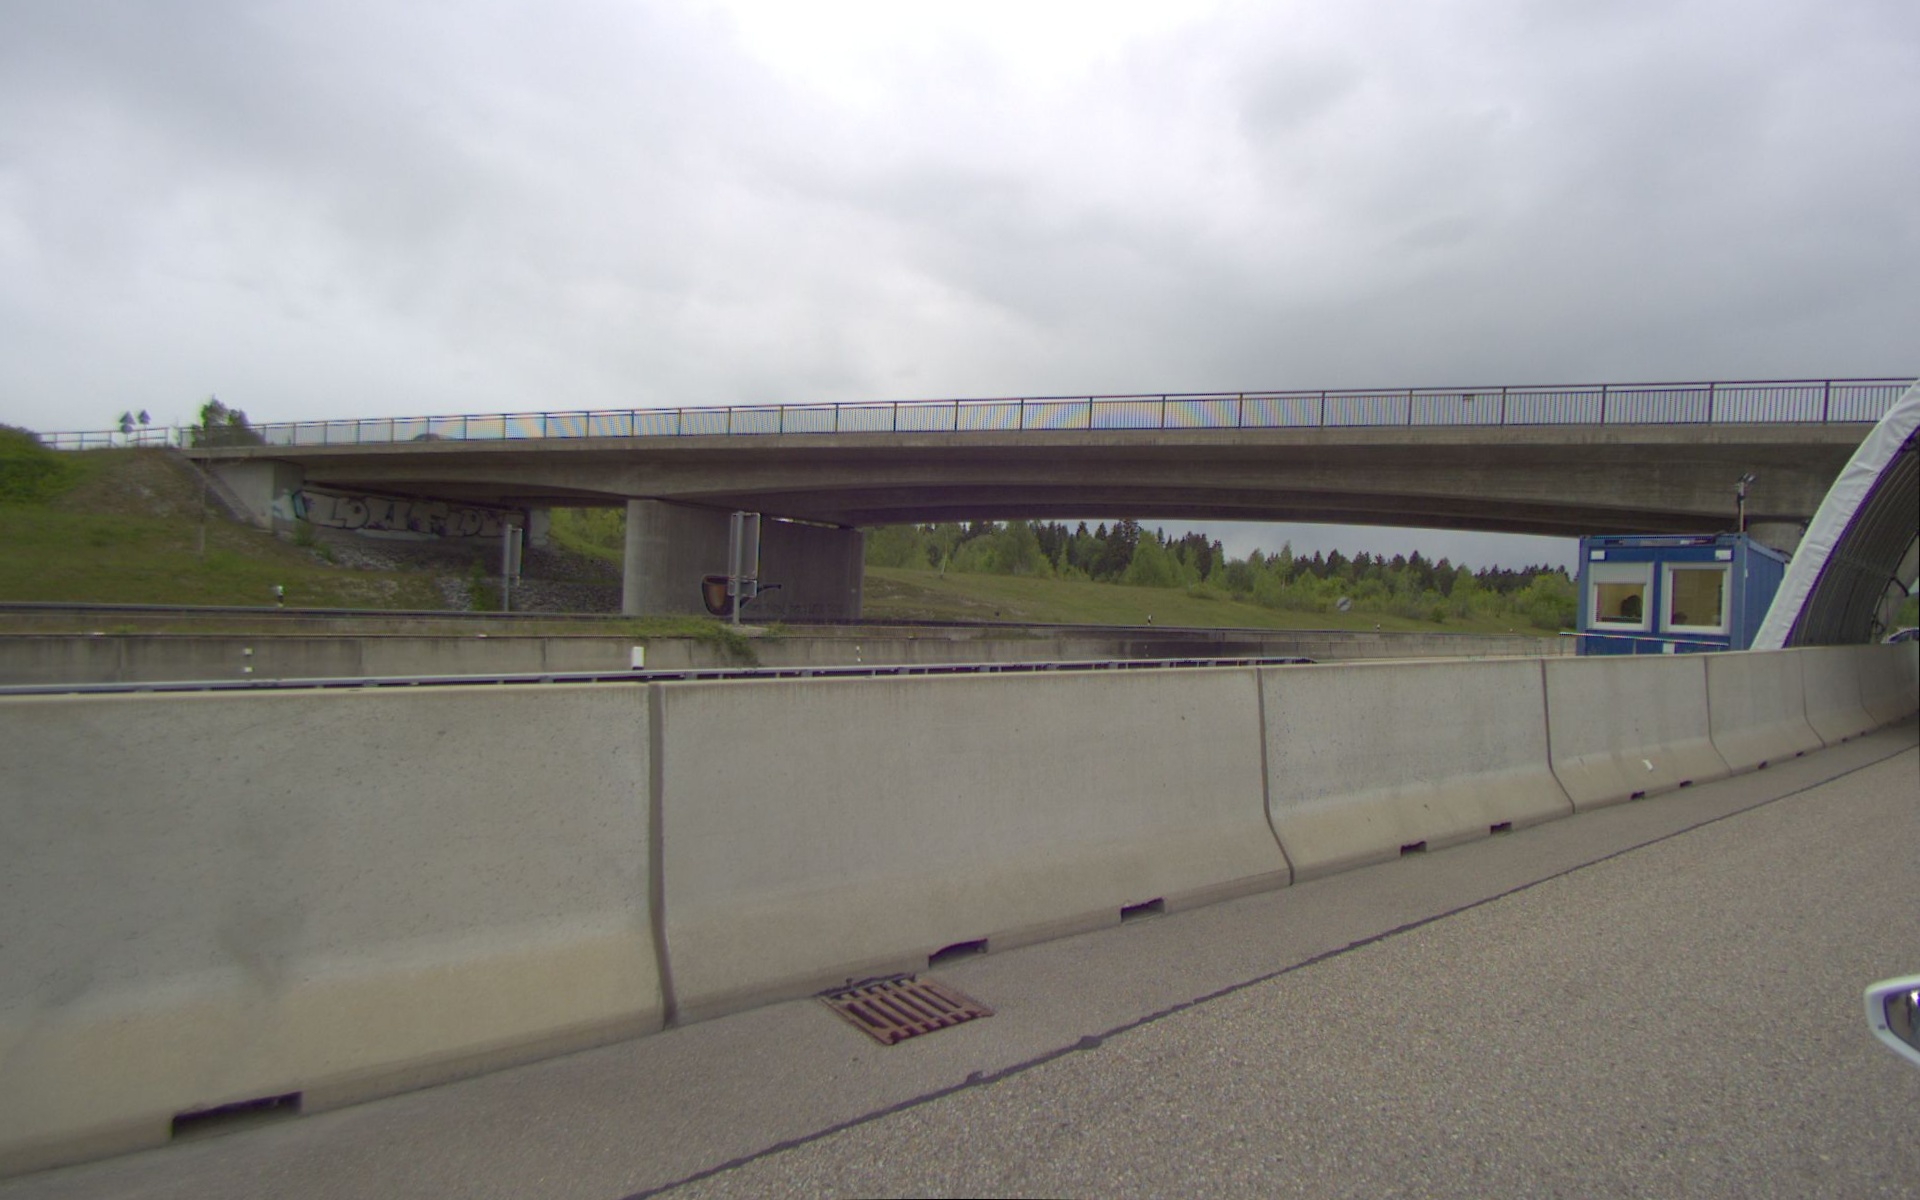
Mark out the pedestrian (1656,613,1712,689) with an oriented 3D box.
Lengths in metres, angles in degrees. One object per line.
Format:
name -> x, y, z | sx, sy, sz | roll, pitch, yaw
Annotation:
pedestrian -> 13.633, 0.956, 18.914 | 0.618, 1.391, 0.609 | 2, -1, -21

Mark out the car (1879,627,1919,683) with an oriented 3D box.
car -> 36.719, 2.054, 36.347 | 1.814, 2.040, 4.797 | 2, -1, -22
